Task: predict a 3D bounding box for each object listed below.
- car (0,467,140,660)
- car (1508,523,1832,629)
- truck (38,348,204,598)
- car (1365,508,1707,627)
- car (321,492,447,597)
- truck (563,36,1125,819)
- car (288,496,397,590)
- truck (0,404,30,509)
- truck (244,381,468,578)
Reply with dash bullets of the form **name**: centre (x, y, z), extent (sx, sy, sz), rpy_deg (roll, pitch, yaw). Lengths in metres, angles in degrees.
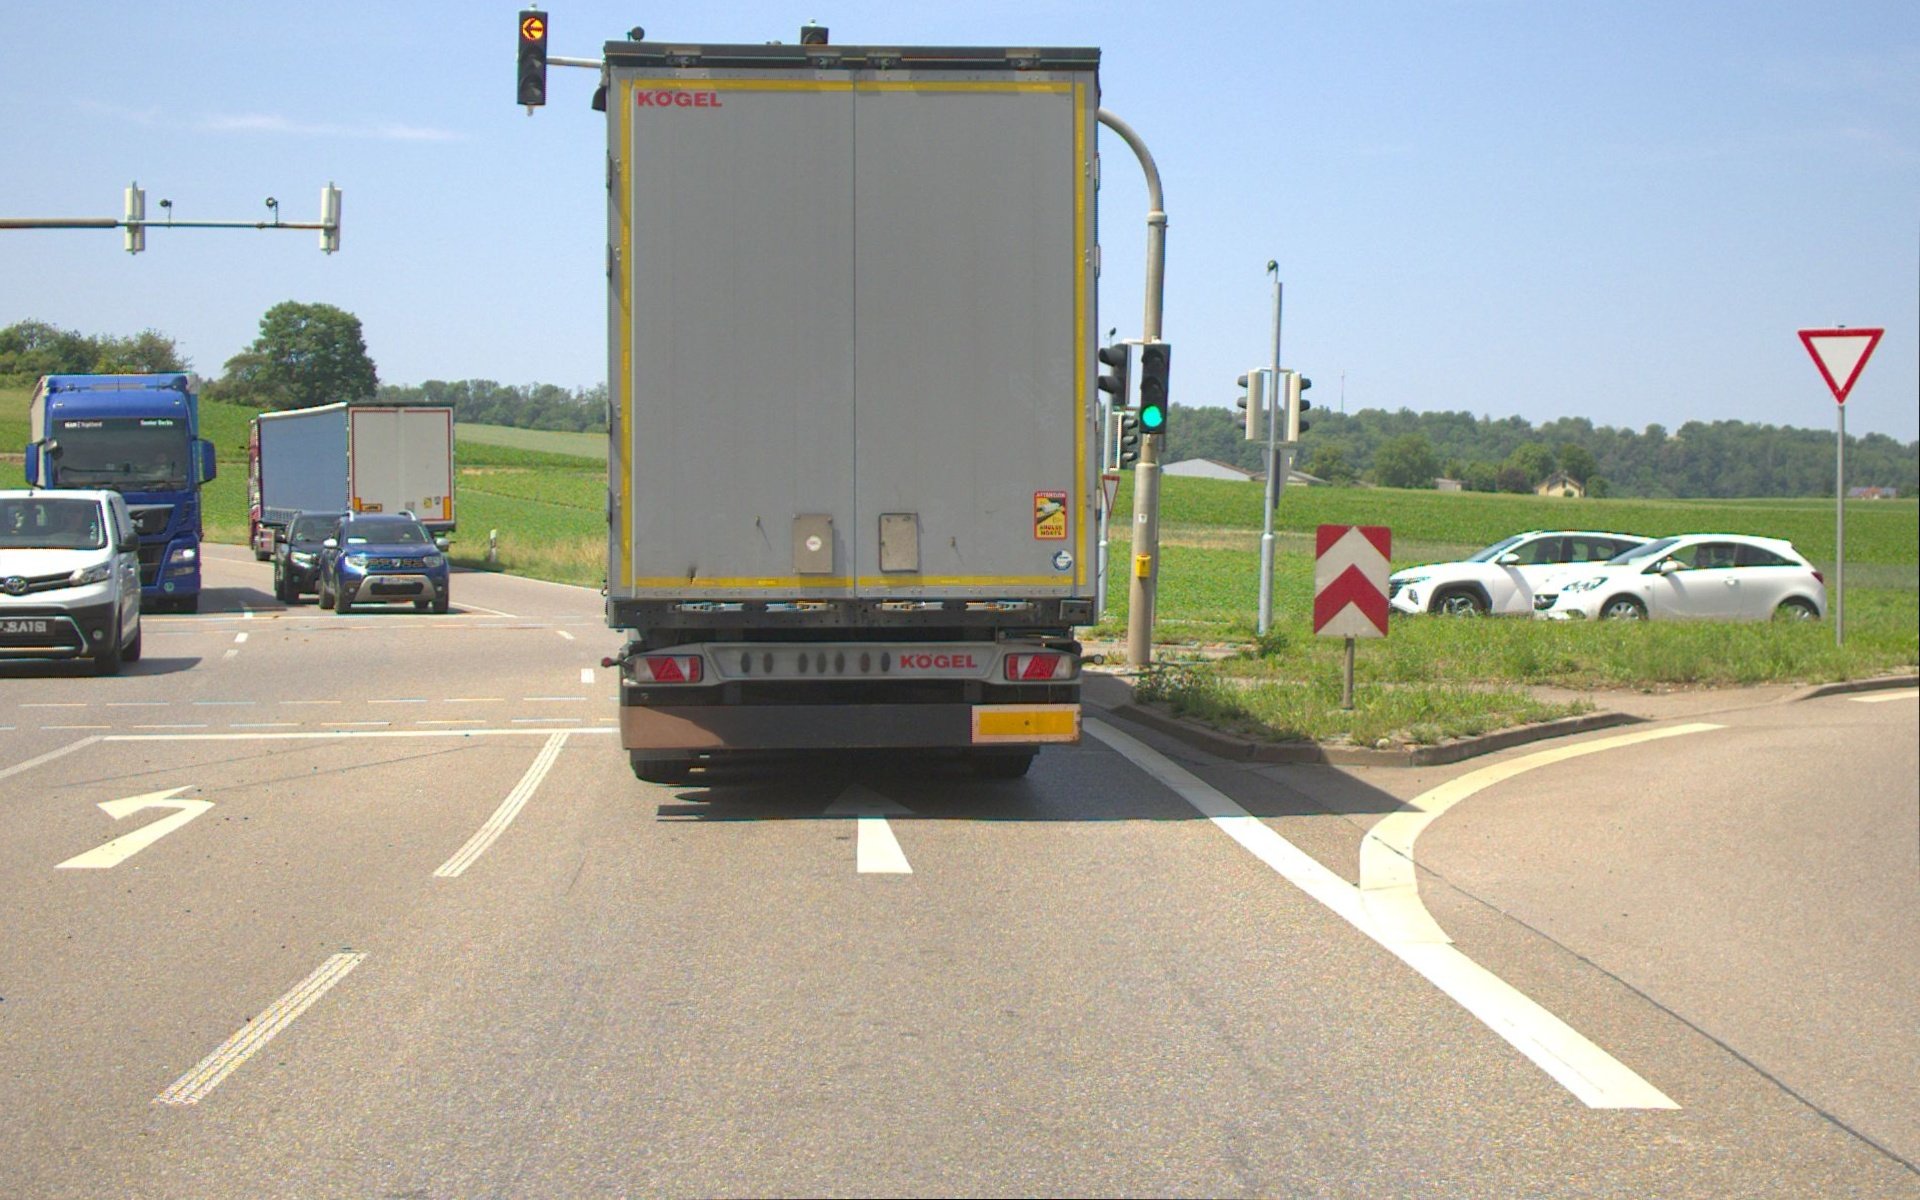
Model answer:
- **car**: centre (-9.632, -0.400, 35.980), extent (1.870, 1.880, 4.953), rpy_deg (-1, 1, -12)
- **car**: centre (9.754, -0.321, 47.309), extent (3.958, 1.414, 1.829), rpy_deg (0, 0, -12)
- **truck**: centre (-14.302, -2.149, 58.647), extent (2.566, 4.016, 6.562), rpy_deg (-1, 2, -14)
- **car**: centre (8.560, -0.466, 51.324), extent (4.625, 1.602, 1.999), rpy_deg (2, -1, -6)
- **car**: centre (-9.505, -0.929, 56.525), extent (1.770, 1.652, 4.001), rpy_deg (0, 1, -13)
- **truck**: centre (-0.957, -0.985, 22.265), extent (2.807, 3.932, 9.593), rpy_deg (1, 1, -4)
- **car**: centre (-11.285, -1.054, 62.663), extent (1.770, 1.652, 4.001), rpy_deg (0, 1, -13)
- **truck**: centre (-42.755, -5.831, 142.049), extent (3.638, 4.115, 13.094), rpy_deg (1, 0, -37)
- **truck**: centre (-15.711, -2.912, 88.077), extent (2.960, 4.568, 16.320), rpy_deg (0, 1, -20)
